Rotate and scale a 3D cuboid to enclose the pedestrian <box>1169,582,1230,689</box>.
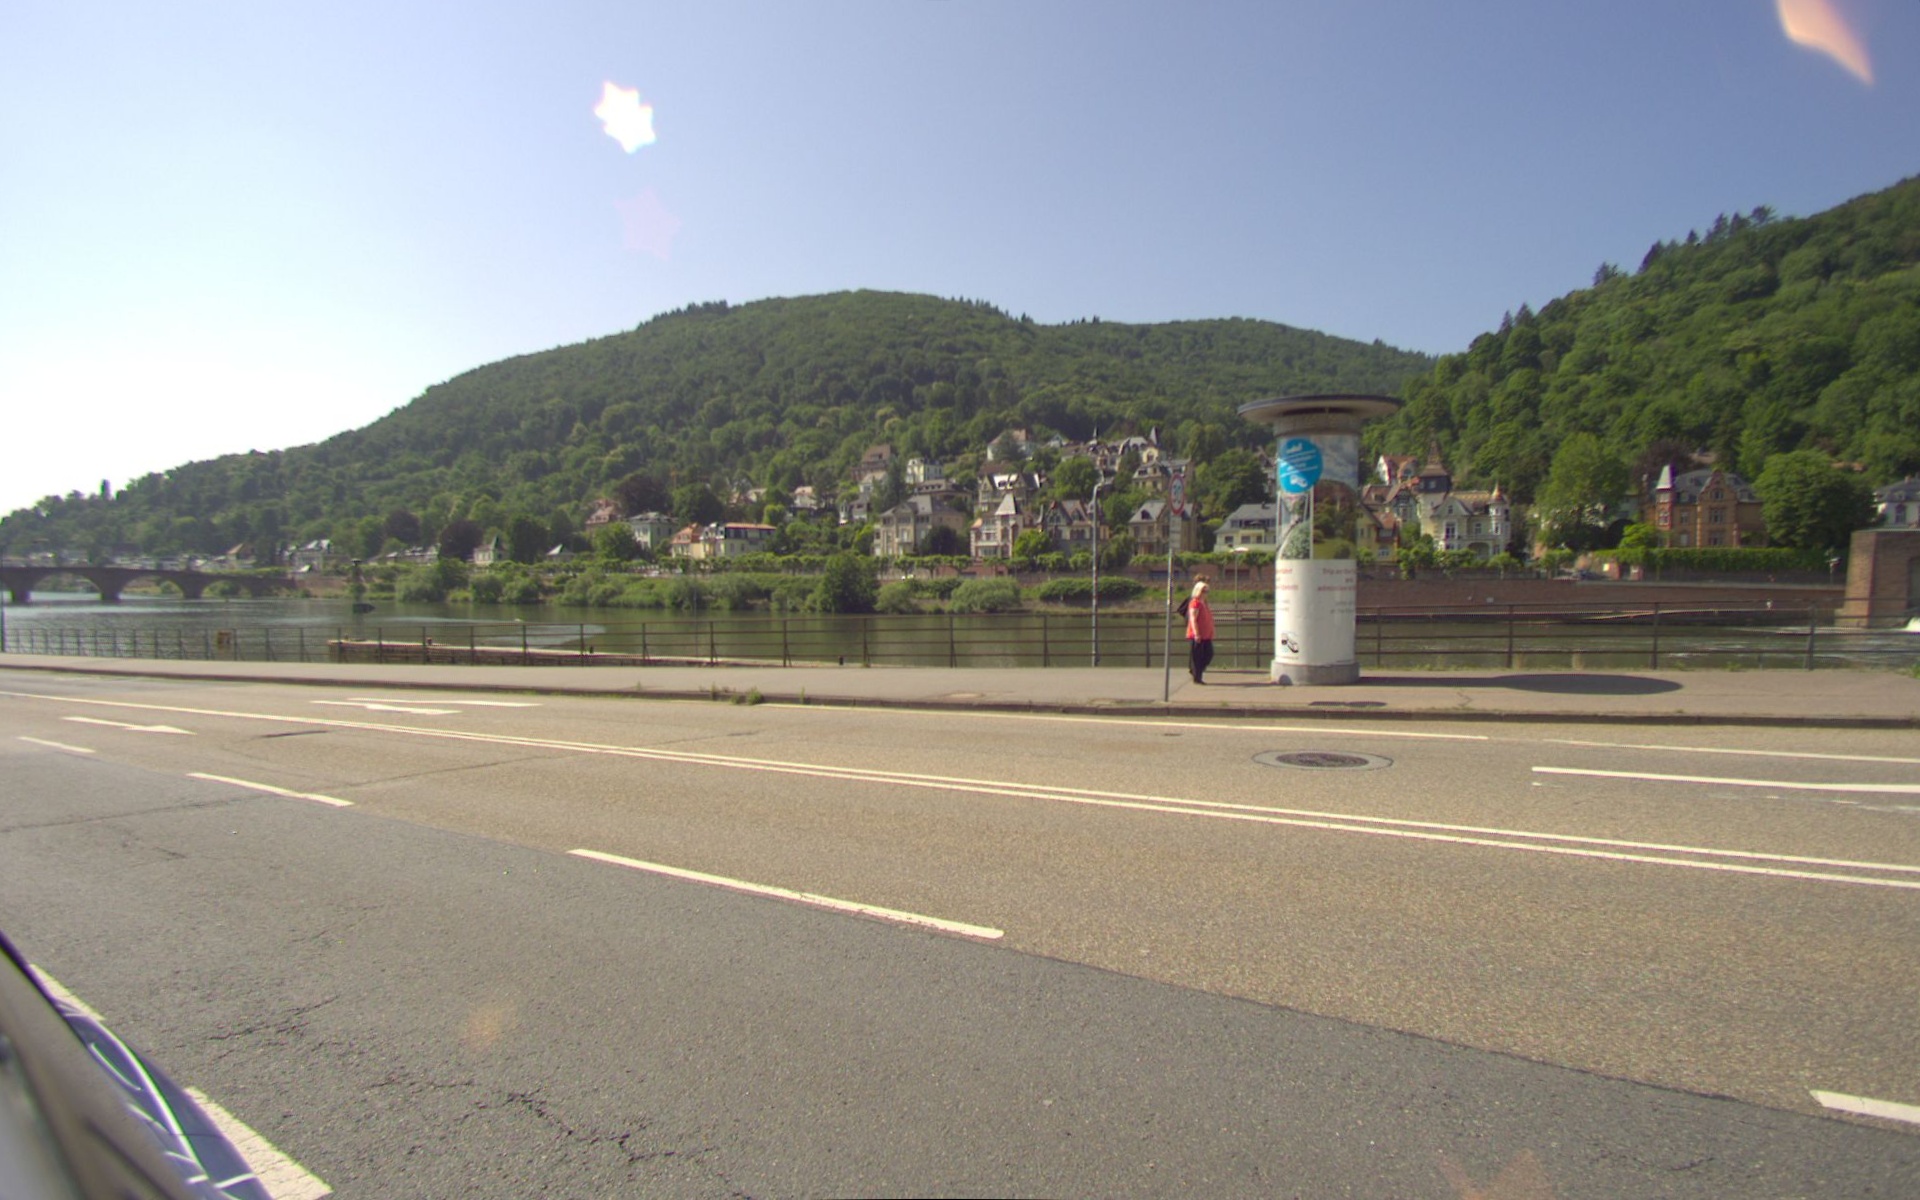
[{"bbox_3d":[3.745,0.540,15.803,0.811,1.633,0.699,-1,0,23],"label":"pedestrian"}]

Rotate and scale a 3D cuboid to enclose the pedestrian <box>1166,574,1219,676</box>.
[{"bbox_3d":[4.028,0.429,17.527,0.768,1.722,0.680,-1,0,23],"label":"pedestrian"}]
